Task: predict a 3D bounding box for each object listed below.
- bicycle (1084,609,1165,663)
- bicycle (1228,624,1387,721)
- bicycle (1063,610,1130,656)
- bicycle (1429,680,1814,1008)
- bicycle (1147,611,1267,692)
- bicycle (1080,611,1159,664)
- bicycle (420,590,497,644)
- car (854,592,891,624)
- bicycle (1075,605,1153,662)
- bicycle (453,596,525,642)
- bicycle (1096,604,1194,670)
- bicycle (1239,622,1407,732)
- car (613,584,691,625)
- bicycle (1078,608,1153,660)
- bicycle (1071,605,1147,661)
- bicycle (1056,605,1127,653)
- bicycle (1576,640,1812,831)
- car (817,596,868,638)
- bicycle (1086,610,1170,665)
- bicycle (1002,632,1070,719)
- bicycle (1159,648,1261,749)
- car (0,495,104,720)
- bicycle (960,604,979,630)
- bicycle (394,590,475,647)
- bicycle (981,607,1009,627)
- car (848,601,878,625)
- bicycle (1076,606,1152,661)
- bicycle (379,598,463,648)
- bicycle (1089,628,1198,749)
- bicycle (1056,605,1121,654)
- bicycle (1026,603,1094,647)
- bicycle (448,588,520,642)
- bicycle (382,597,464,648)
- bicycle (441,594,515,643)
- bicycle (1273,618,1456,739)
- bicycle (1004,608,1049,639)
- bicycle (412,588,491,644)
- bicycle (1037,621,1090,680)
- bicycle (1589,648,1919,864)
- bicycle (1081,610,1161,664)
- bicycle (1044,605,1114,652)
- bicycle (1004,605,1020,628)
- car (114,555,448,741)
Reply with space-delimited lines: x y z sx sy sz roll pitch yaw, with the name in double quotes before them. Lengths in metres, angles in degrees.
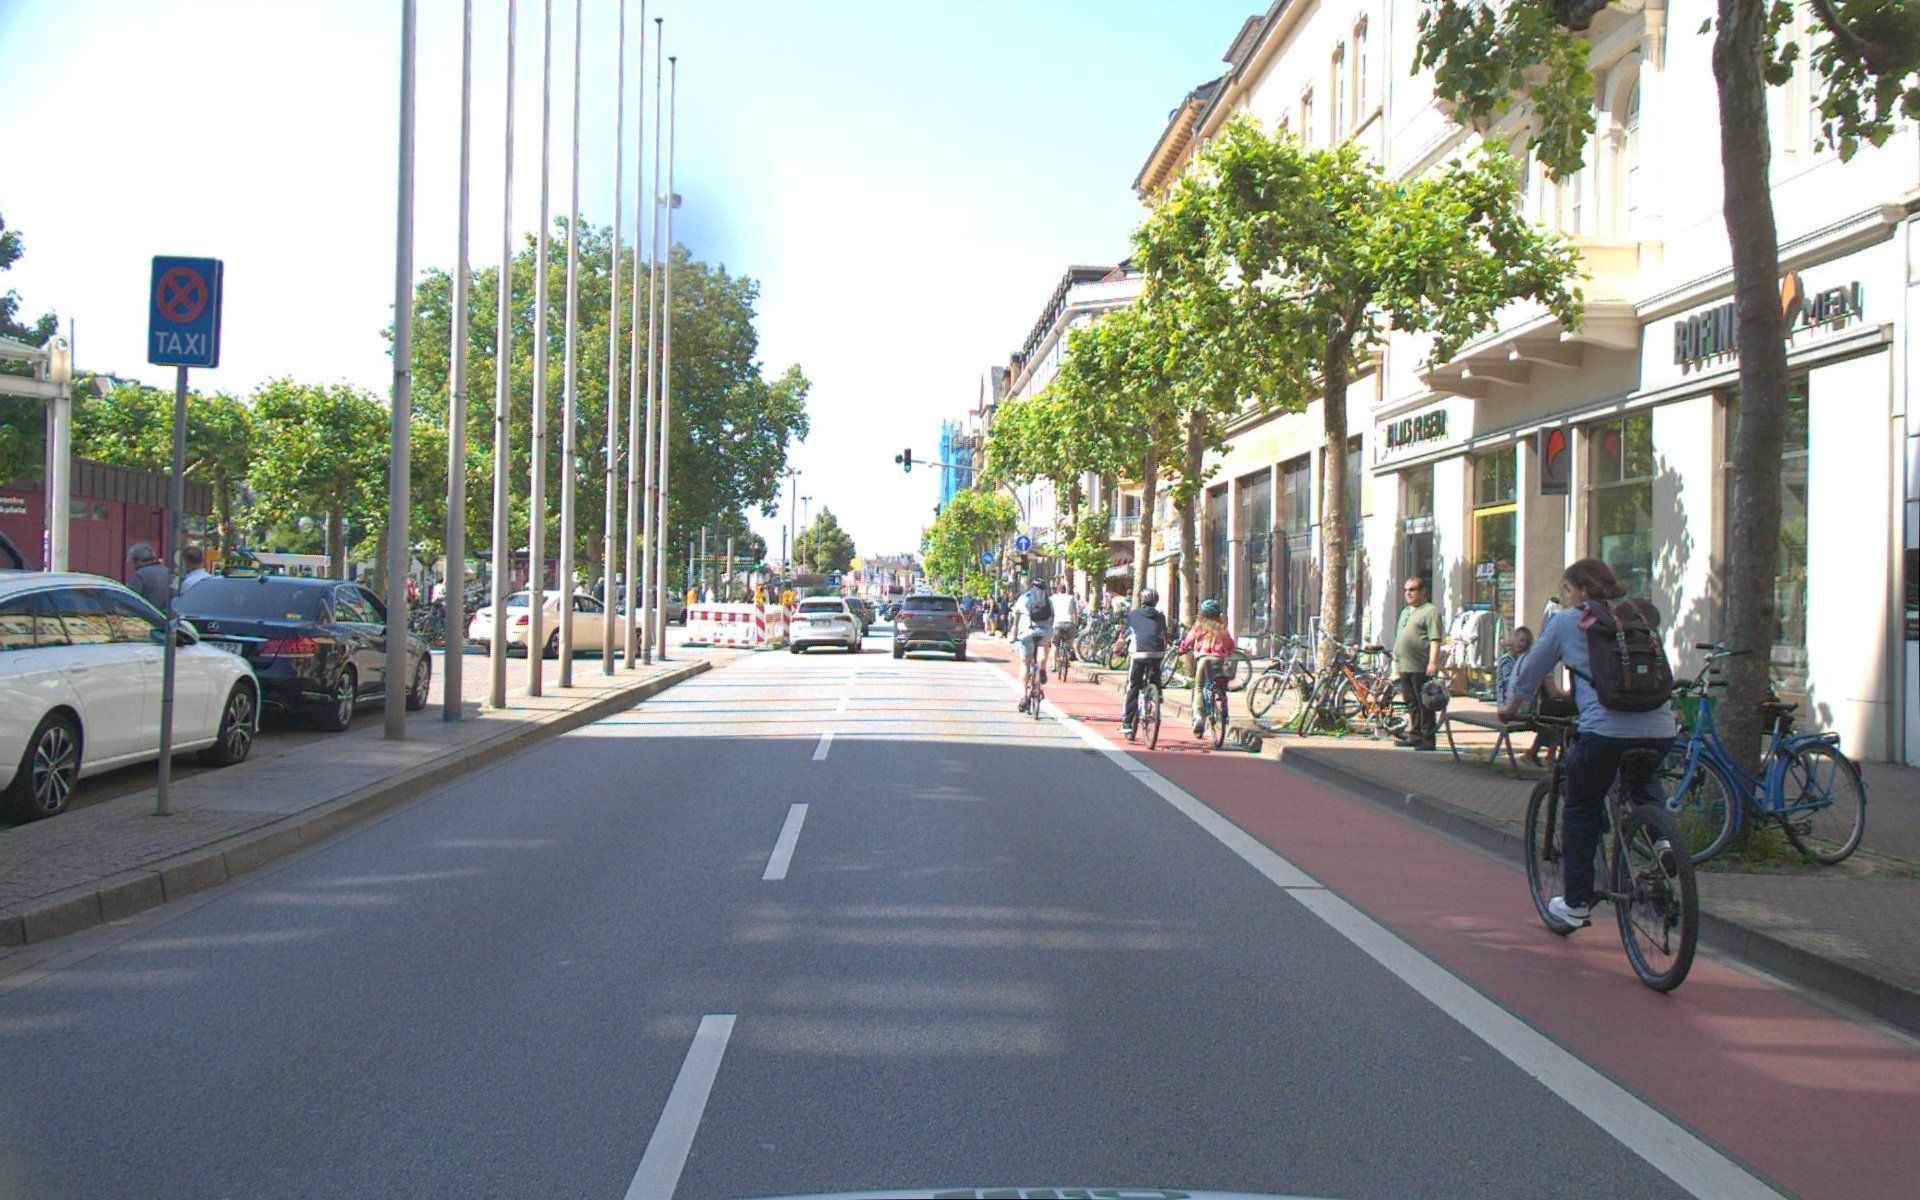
"bicycle" 3.577 0.782 36.001 1.693 1.128 0.402 1 0 -1
"bicycle" 4.287 0.883 20.484 1.801 1.116 0.794 2 0 2
"bicycle" 3.419 0.819 41.616 1.615 1.114 0.607 1 0 -1
"bicycle" 2.851 0.995 7.416 0.685 1.146 2.079 2 0 -6
"bicycle" 3.962 0.818 26.581 1.802 1.206 0.670 2 0 2
"bicycle" 3.549 0.828 36.833 1.693 1.128 0.477 1 0 -1
"bicycle" -12.756 0.423 42.106 1.747 1.331 0.662 1 0 -6
"car" -4.522 0.408 85.359 1.809 1.587 3.997 1 0 -3
"bicycle" 3.452 0.750 37.190 1.693 1.238 0.477 1 0 -1
"bicycle" -12.756 0.504 44.792 1.747 1.206 0.662 1 0 -6
"bicycle" 3.765 0.748 33.675 1.892 1.270 0.736 1 0 -1
"bicycle" 4.113 0.868 18.819 1.801 1.146 0.498 2 0 8
"car" -15.642 0.264 84.234 1.820 1.989 4.762 1 -1 18
"bicycle" 3.657 0.799 38.903 1.693 1.182 0.477 1 0 -1
"bicycle" 3.412 0.760 37.914 1.693 1.238 0.477 1 0 -1
"bicycle" 3.453 0.767 43.555 1.806 1.222 0.474 1 0 -1
"bicycle" 5.089 0.907 11.436 1.756 1.218 0.572 2 0 -31
"car" -4.309 0.598 60.888 1.809 1.474 3.997 0 0 -3
"bicycle" 3.566 0.791 35.147 1.693 1.128 0.736 1 0 -1
"bicycle" 0.938 0.923 20.846 0.618 0.997 2.087 2 -1 -3
"bicycle" 2.699 1.043 18.069 0.588 0.942 2.085 1 1 -6
"car" -9.610 0.056 14.601 1.795 2.049 4.683 1 0 -3
"bicycle" 0.368 0.661 65.116 0.634 1.015 2.029 1 0 -3
"bicycle" -12.672 0.438 39.887 1.747 1.331 0.562 1 0 -6
"bicycle" 1.811 0.887 85.635 1.392 0.997 0.401 0 1 -2
"car" -6.050 0.791 103.094 1.809 1.438 3.997 1 0 -3
"bicycle" 3.572 0.768 38.413 1.693 1.238 0.477 1 0 -1
"bicycle" -12.577 0.531 38.632 1.747 1.124 0.562 1 0 -6
"bicycle" 1.917 0.905 17.558 0.685 1.146 2.079 2 0 -6
"bicycle" 3.346 0.762 43.136 1.615 1.222 0.474 1 0 -1
"bicycle" 2.972 0.739 49.261 1.906 1.279 0.700 1 0 -22
"bicycle" -13.083 0.412 45.501 1.747 1.371 0.740 3 0 -6
"bicycle" -12.759 0.528 39.312 1.747 1.152 0.562 1 0 -6
"bicycle" -12.663 0.486 43.500 1.747 1.236 0.662 1 0 -6
"bicycle" 4.325 0.830 17.763 1.801 1.218 0.674 2 0 4
"bicycle" 2.406 0.848 59.606 0.595 1.101 1.815 -1 0 -37
"bicycle" -12.646 0.391 41.179 1.747 1.331 0.662 1 0 -6
"bicycle" 1.935 0.923 31.164 0.759 1.023 2.328 1 0 -2
"bicycle" 4.696 0.916 9.750 1.807 1.146 0.496 3 1 -11
"bicycle" 3.534 0.811 36.413 1.693 1.128 0.402 1 0 -1
"bicycle" 3.184 0.759 44.348 1.806 1.222 0.544 1 0 -1
"bicycle" 2.616 0.809 83.239 0.391 1.133 1.426 0 1 18
"car" -6.768 0.421 17.079 1.726 1.628 4.706 1 0 -4
